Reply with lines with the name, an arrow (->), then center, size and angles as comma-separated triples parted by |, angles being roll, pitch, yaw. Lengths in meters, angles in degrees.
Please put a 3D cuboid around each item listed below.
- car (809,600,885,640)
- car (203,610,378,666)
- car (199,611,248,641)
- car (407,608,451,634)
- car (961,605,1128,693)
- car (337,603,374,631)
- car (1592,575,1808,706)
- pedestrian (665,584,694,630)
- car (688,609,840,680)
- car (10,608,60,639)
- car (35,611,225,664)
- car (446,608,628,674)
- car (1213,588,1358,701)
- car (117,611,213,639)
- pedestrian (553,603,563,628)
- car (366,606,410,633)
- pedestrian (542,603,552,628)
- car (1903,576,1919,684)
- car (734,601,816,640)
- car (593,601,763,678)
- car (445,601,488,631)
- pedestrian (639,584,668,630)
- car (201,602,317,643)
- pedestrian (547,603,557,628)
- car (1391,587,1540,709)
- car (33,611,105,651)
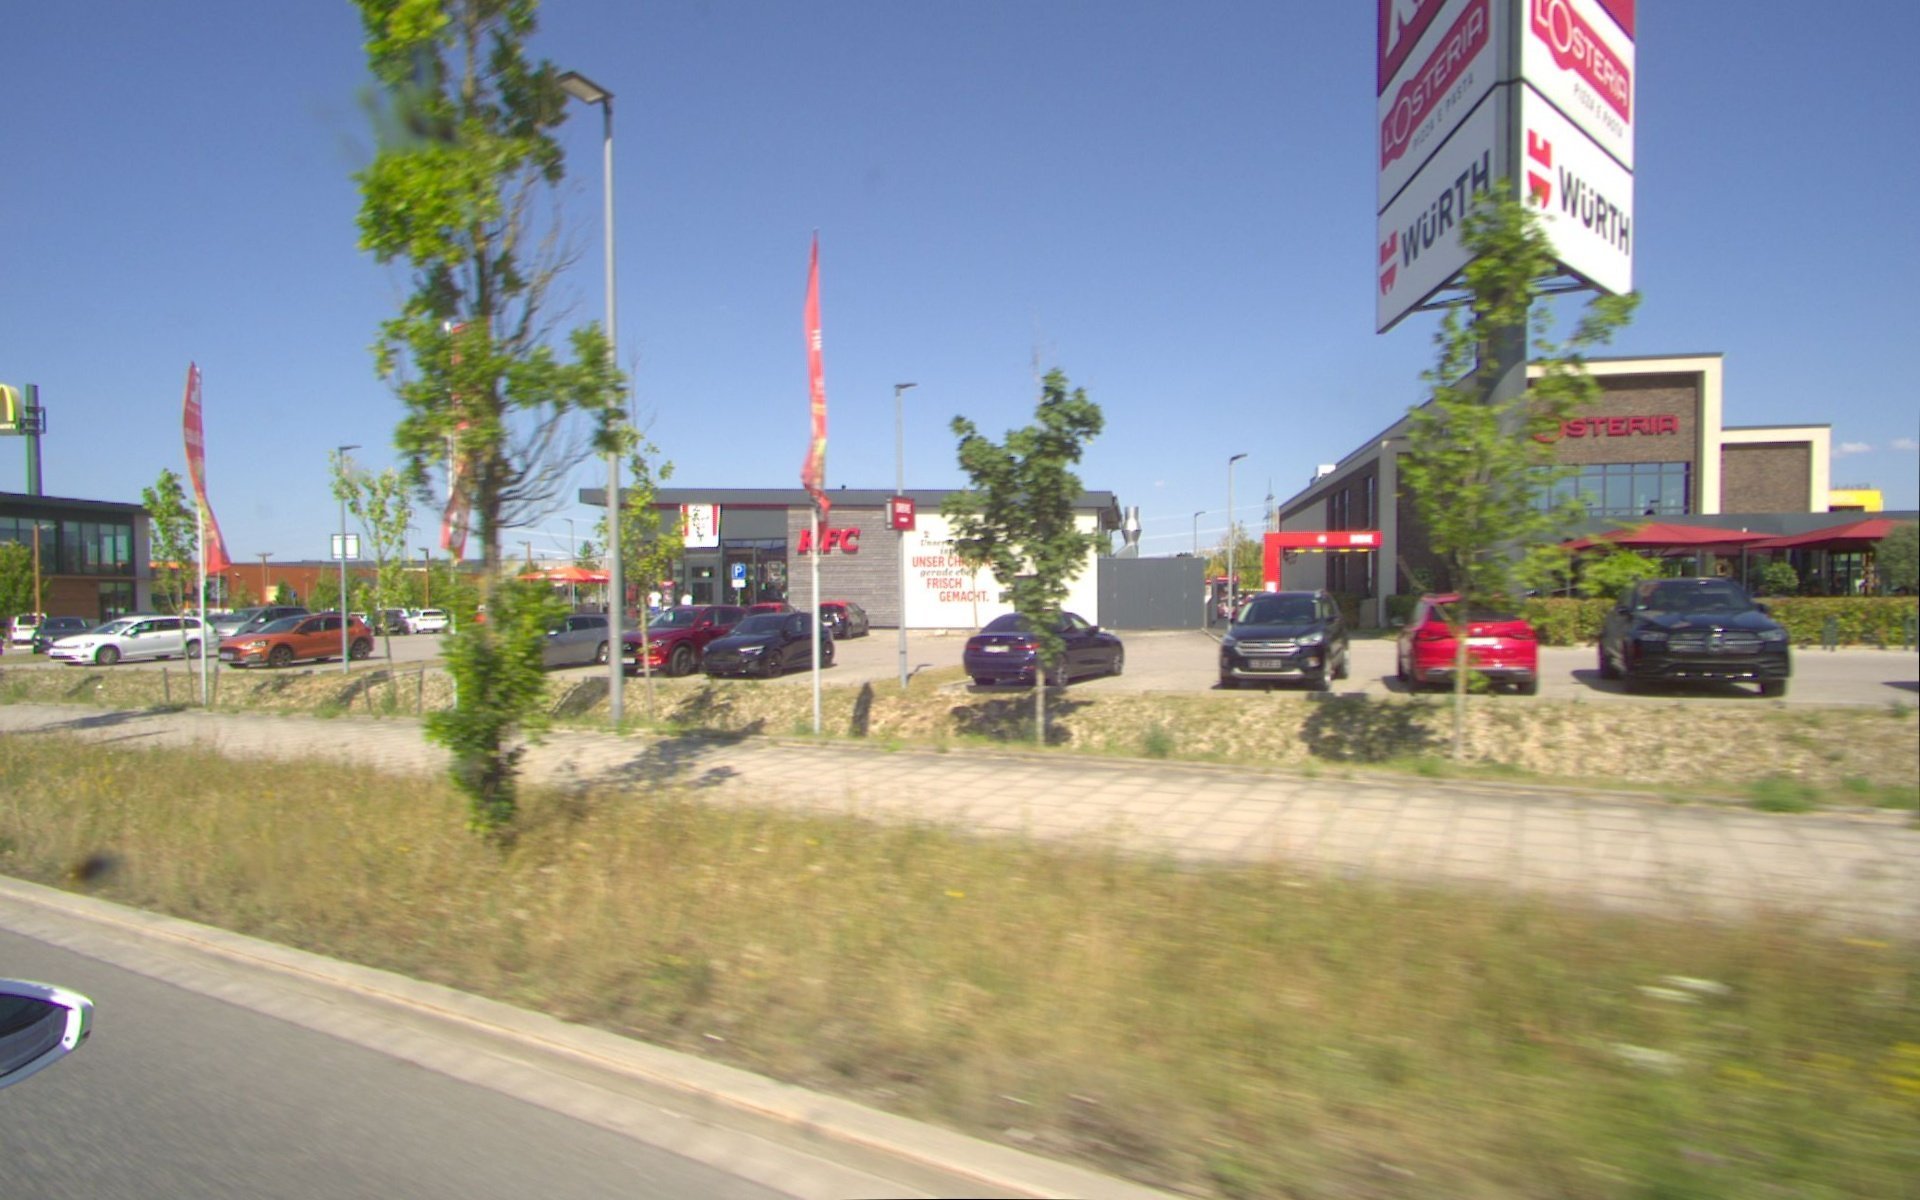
car -> -4.479, 0.785, 40.569 | 1.833, 1.451, 4.566 | 0, 1, 10
car -> -20.248, 1.090, 30.519 | 1.835, 1.510, 4.210 | 0, 1, 17
car -> -34.975, 1.213, 47.576 | 1.769, 1.314, 4.139 | -1, 0, -36
car -> -32.518, 1.261, 61.249 | 1.769, 1.470, 4.139 | -1, 0, -36
car -> 1.836, 0.886, 20.232 | 1.763, 1.469, 4.401 | 0, 1, 28
car -> -40.685, 1.135, 67.336 | 1.769, 1.781, 4.139 | -1, 0, -36
car -> 11.635, 0.507, 16.145 | 1.908, 1.758, 4.979 | 0, 1, 26
pedestrian -> -12.525, 0.299, 44.733 | 0.874, 2.040, 0.915 | -1, 1, 14
car -> -4.602, 1.000, 24.195 | 1.759, 1.469, 4.158 | 0, 1, 19
car -> -54.873, 1.365, 59.450 | 1.777, 1.724, 3.969 | -1, 0, -38
car -> -27.201, 1.179, 33.022 | 1.835, 1.510, 4.532 | 0, 1, 17
car -> -11.210, 1.024, 26.917 | 1.836, 1.510, 4.558 | 0, 1, 21
car -> 6.017, 0.677, 18.154 | 1.763, 1.758, 4.401 | 0, 1, 28
car -> -43.684, 1.368, 55.160 | 3.946, 1.391, 1.787 | -1, 0, -34
pedestrian -> -20.636, 0.807, 51.430 | 0.287, 1.257, 0.380 | -1, 1, 9
car -> -33.140, 1.123, 57.970 | 1.769, 1.470, 4.139 | -1, 0, -36
pedestrian -> -20.917, 0.801, 50.666 | 0.287, 1.257, 0.380 | -1, 1, 9
car -> 14.362, 0.465, 12.911 | 1.963, 1.587, 4.403 | 0, 1, 26
car -> -7.516, 0.812, 41.184 | 1.833, 1.451, 4.566 | 0, 1, 10
car -> -6.908, 0.906, 25.005 | 1.838, 1.688, 4.153 | 0, 1, 25
car -> -31.537, 1.014, 63.913 | 1.769, 1.781, 4.139 | -1, 0, -36
pedestrian -> -13.756, 0.313, 44.901 | 0.874, 2.040, 0.915 | -1, 1, 14
car -> -30.891, 0.962, 44.271 | 1.757, 1.657, 4.167 | -1, 0, 9
pedestrian -> -20.618, 0.797, 50.632 | 0.287, 1.257, 0.380 | -1, 1, 9
car -> 8.348, 0.677, 16.890 | 1.760, 1.758, 4.409 | 0, 1, 21
car -> -36.068, 1.216, 40.626 | 1.769, 1.481, 4.139 | -1, 0, -36
